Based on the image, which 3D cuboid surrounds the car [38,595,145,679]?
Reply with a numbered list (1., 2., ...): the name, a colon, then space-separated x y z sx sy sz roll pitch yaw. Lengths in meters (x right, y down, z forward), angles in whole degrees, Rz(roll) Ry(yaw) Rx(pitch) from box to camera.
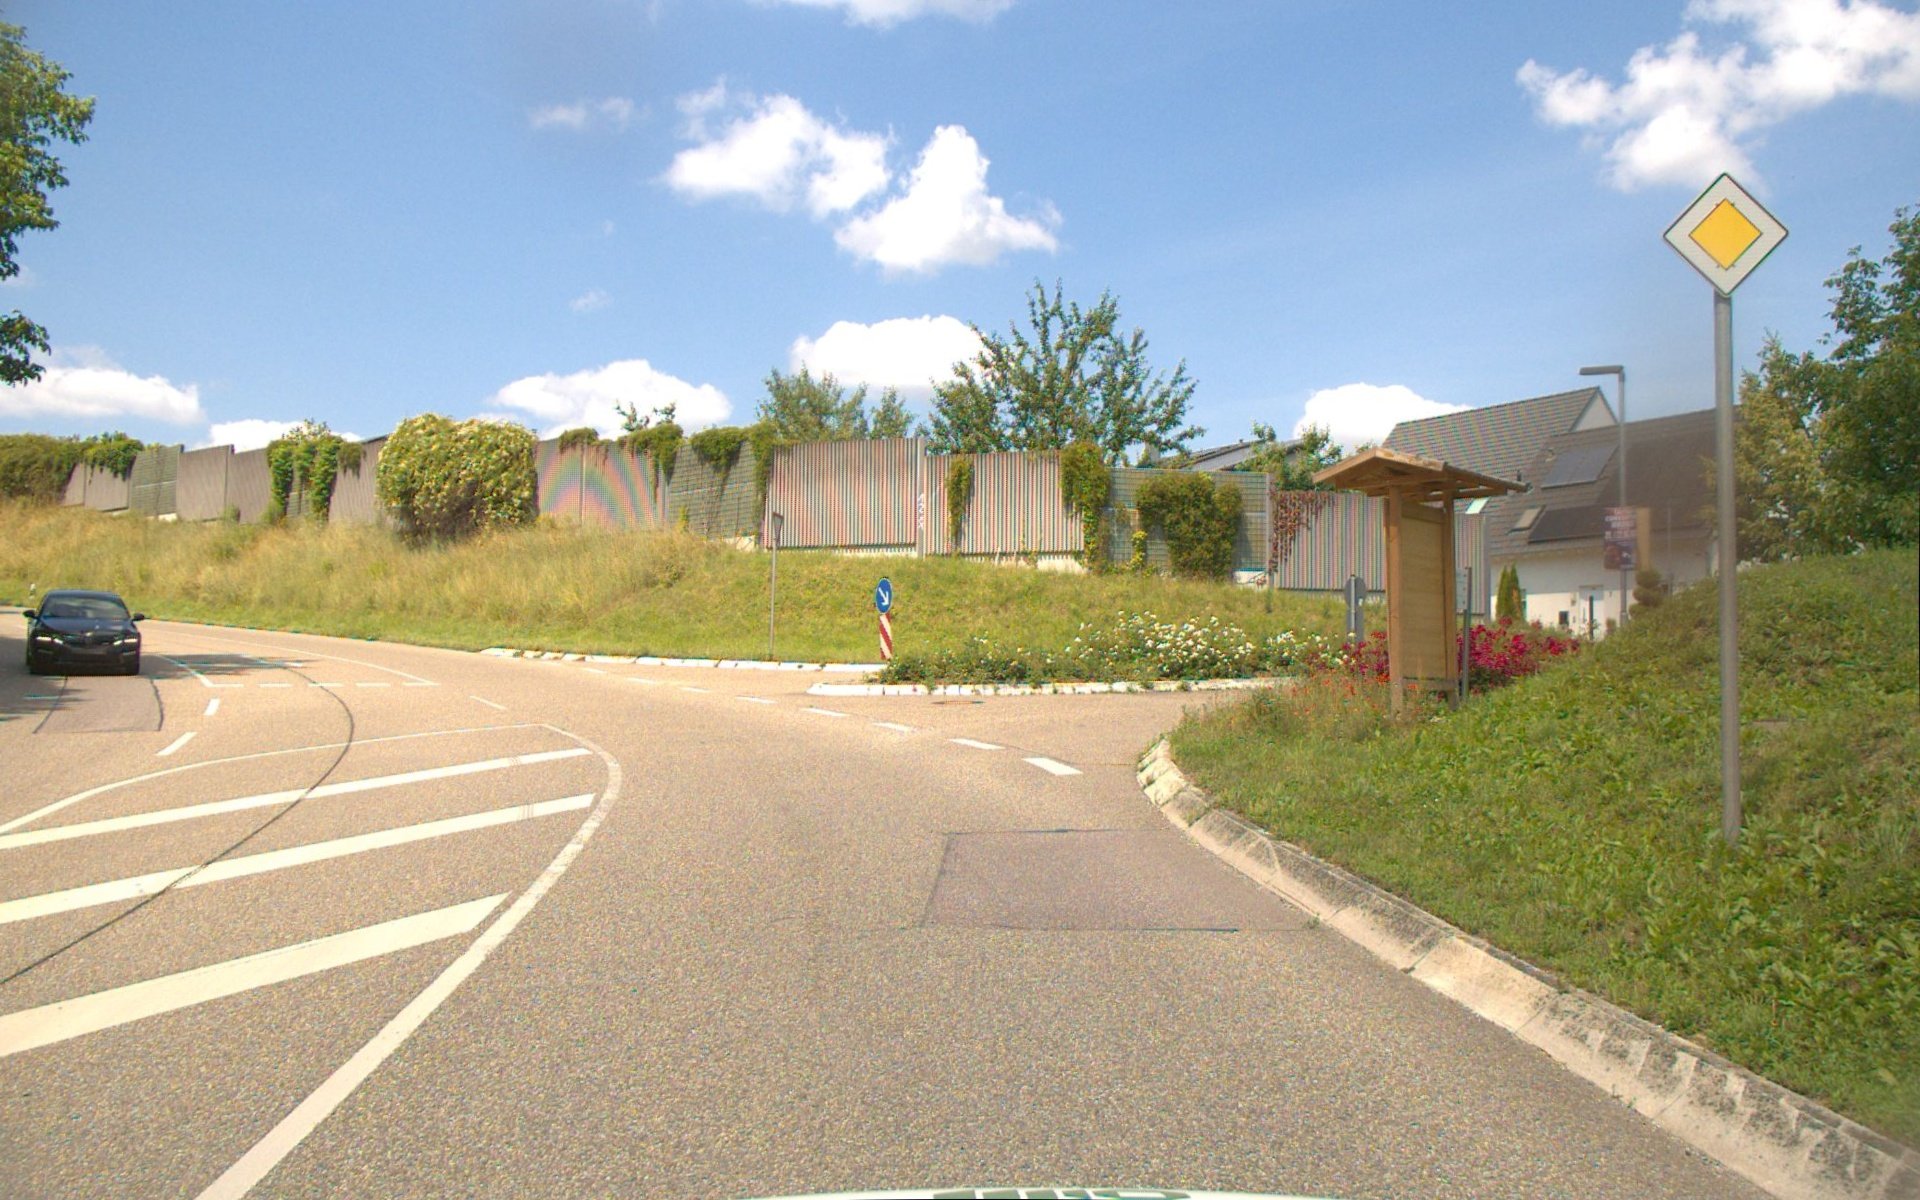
1. car: -16.186 0.653 30.774 1.666 1.444 4.302 0 -1 -29
